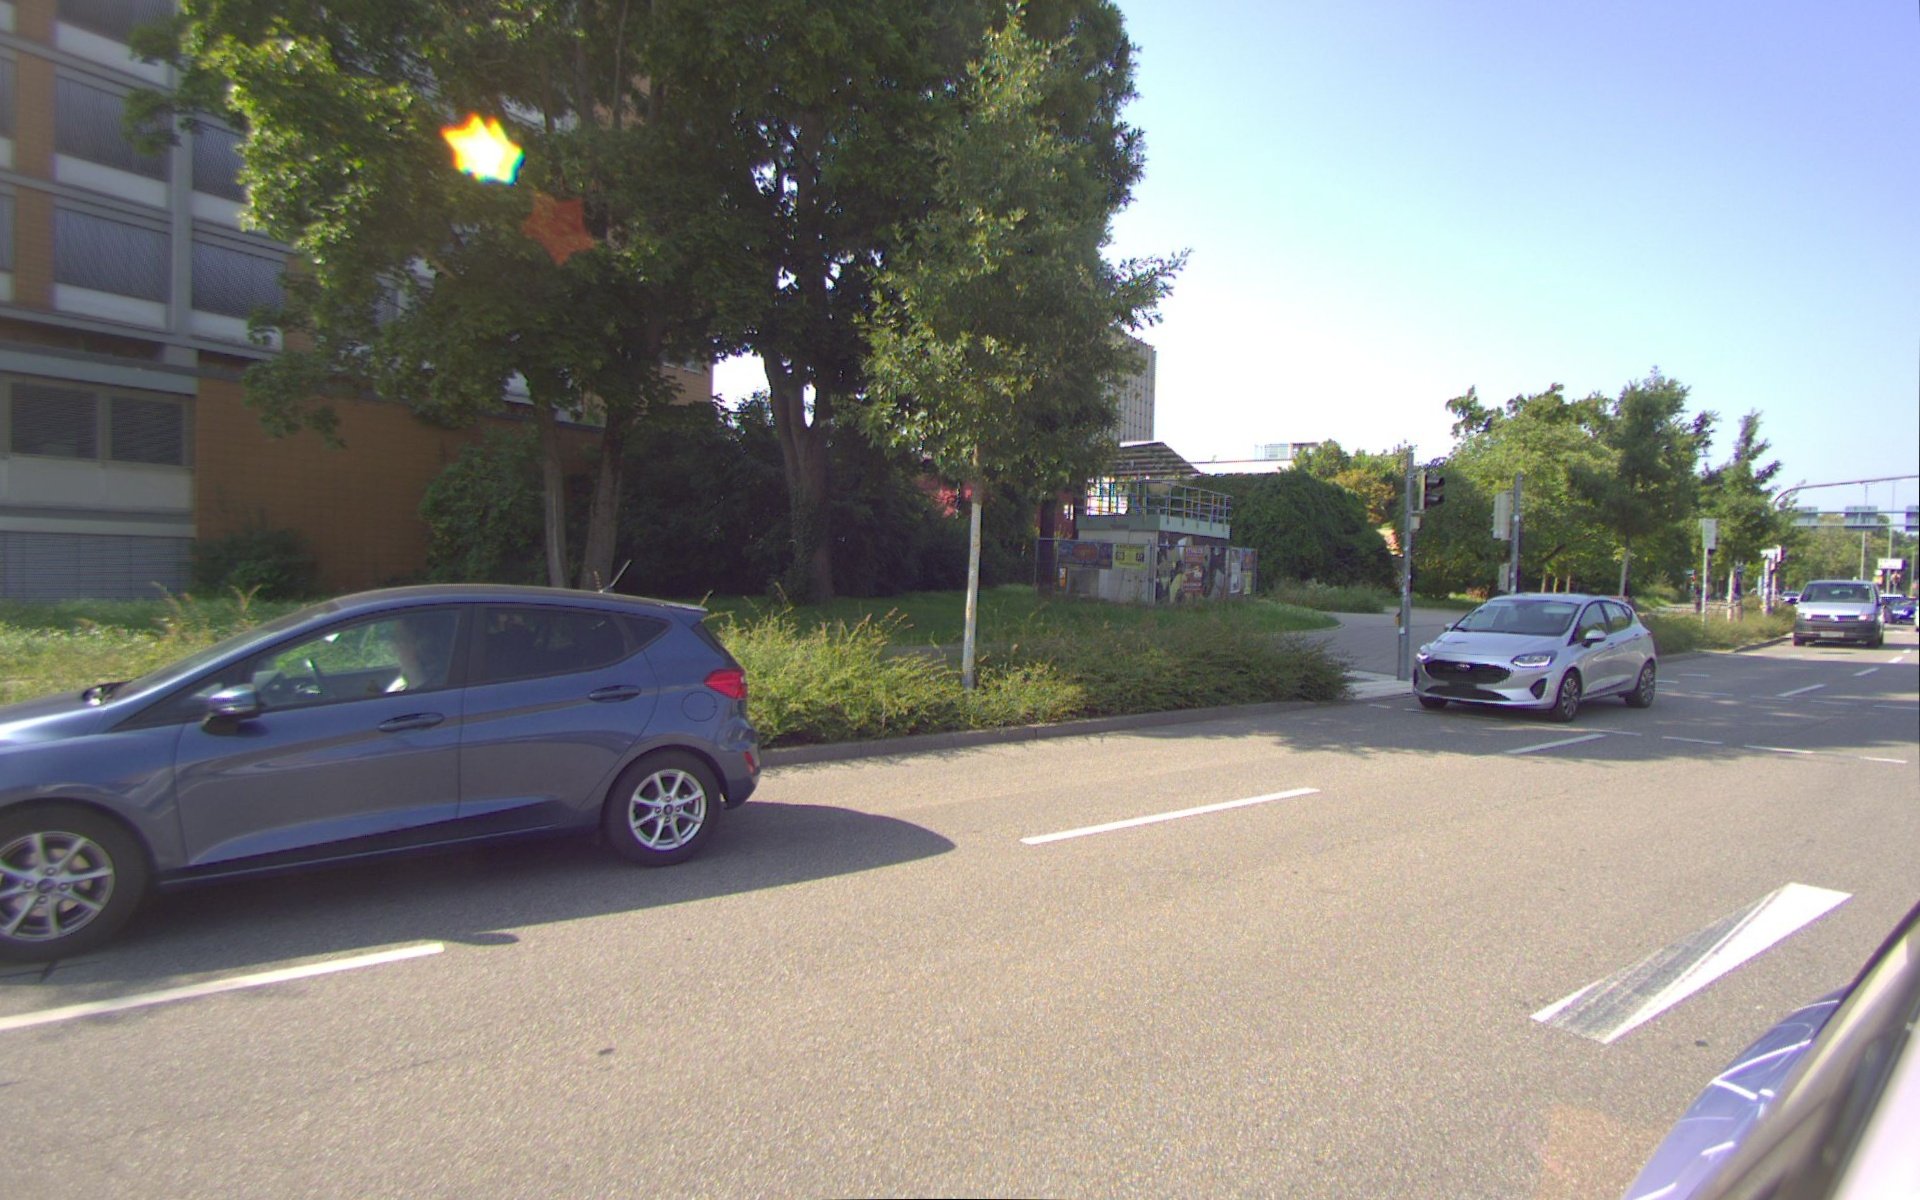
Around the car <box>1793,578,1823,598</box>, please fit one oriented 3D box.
[{"bbox_3d":[76.878,-1.118,91.767,1.822,1.704,3.948,2,2,36],"label":"car"}]

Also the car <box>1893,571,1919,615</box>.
[{"bbox_3d":[48.381,-0.313,50.917,1.740,2.039,3.697,3,0,38],"label":"car"}]

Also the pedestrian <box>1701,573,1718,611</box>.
[{"bbox_3d":[37.586,-0.419,50.734,0.620,1.868,0.633,2,2,37],"label":"pedestrian"}]

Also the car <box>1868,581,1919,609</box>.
[{"bbox_3d":[54.296,-0.313,58.741,1.922,1.524,4.239,3,2,36],"label":"car"}]

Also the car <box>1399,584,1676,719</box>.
[{"bbox_3d":[7.352,0.532,12.765,3.789,1.451,1.720,0,1,-38],"label":"car"}]

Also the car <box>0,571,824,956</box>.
[{"bbox_3d":[-2.980,0.595,5.202,4.238,1.445,1.642,0,1,-33],"label":"car"}]

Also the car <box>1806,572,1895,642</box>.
[{"bbox_3d":[26.270,0.154,29.873,1.840,1.898,4.899,1,1,42],"label":"car"}]
